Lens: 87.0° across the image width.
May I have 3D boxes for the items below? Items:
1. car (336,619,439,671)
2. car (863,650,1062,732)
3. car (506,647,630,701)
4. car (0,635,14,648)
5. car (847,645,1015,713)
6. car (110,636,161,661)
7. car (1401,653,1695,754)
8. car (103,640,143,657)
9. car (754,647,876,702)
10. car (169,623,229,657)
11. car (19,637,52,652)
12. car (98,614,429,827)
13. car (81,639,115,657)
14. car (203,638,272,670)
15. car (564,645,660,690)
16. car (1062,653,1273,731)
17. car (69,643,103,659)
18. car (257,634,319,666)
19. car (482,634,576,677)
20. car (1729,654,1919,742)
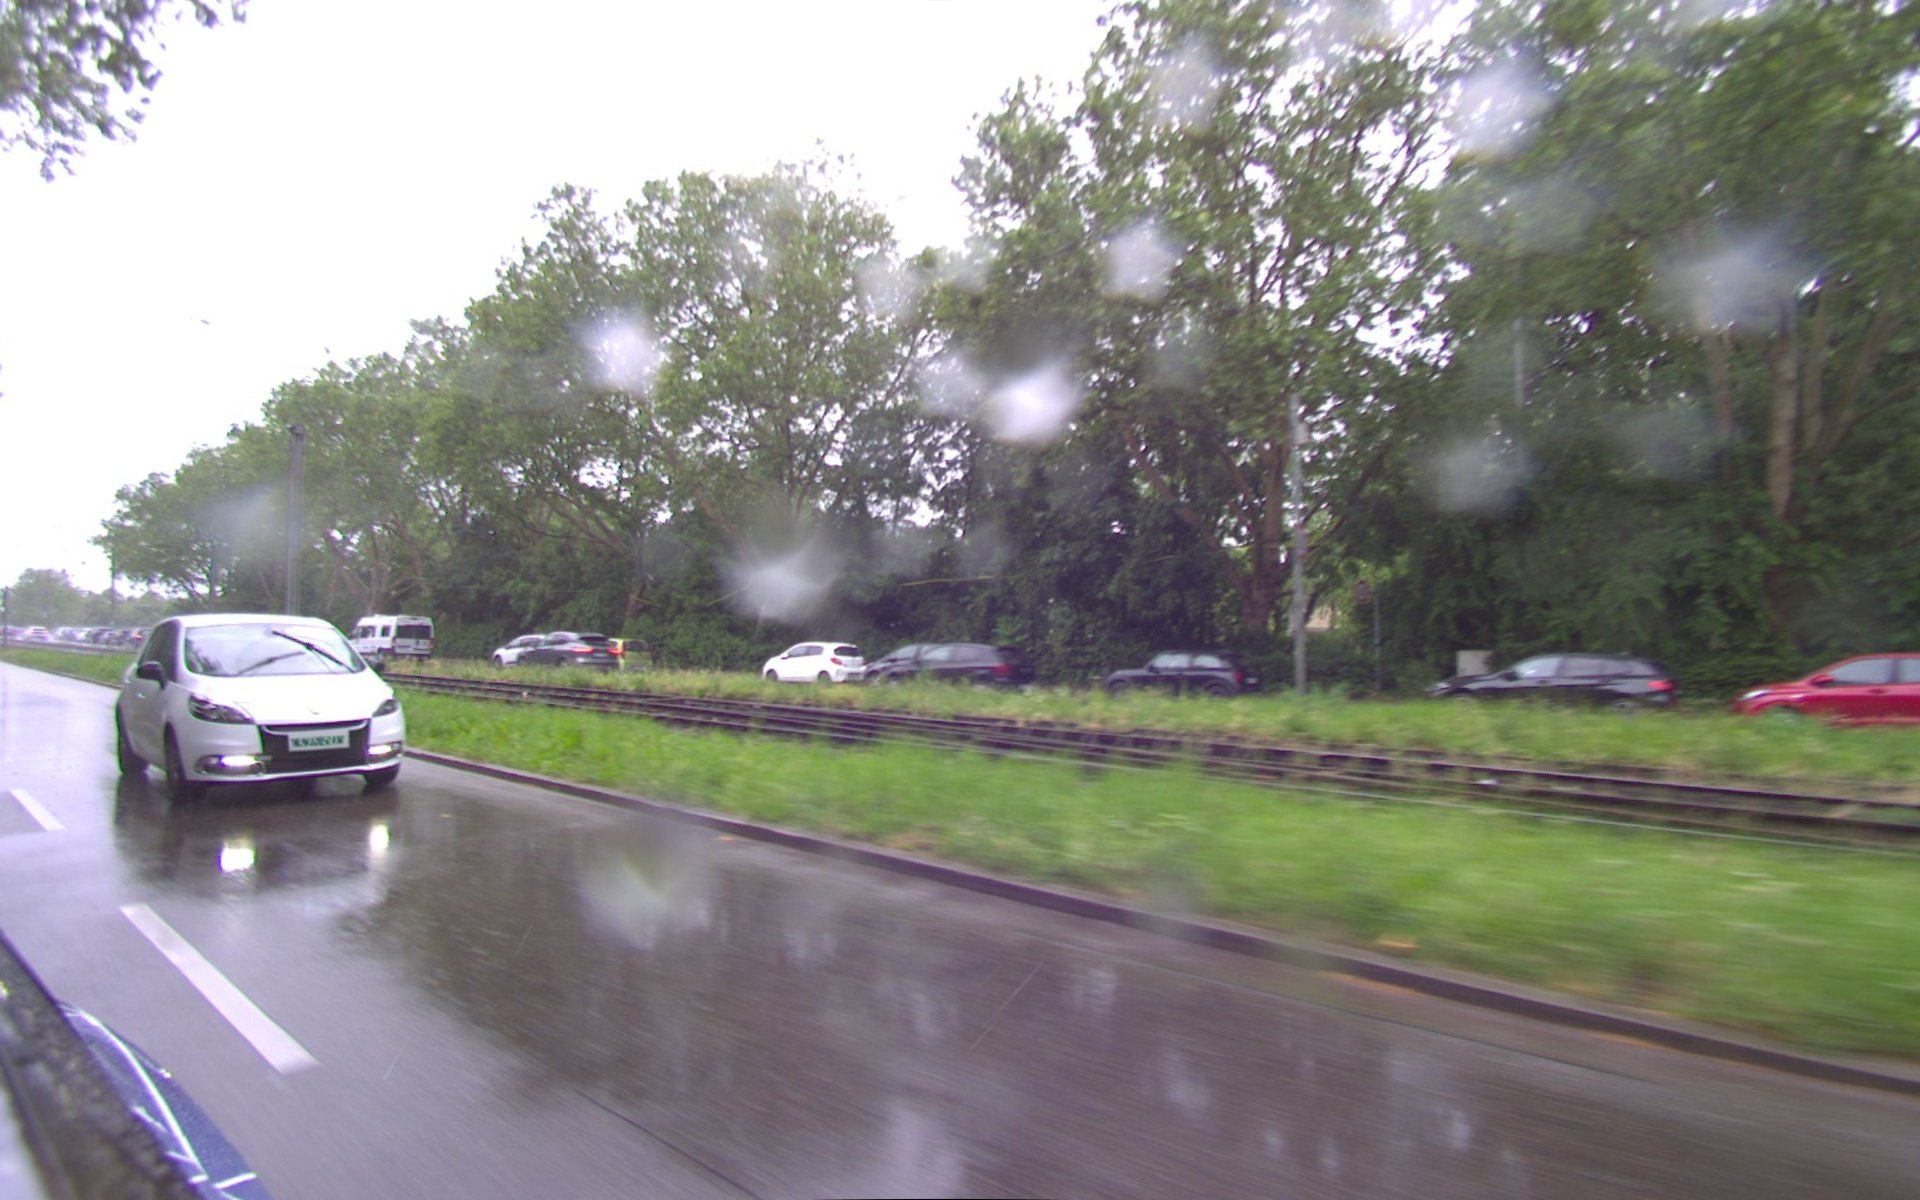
[{"bbox_3d":[-29.963,2.359,52.852,6.560,2.560,2.366,-2,-5,39],"label":"car"},{"bbox_3d":[0.014,2.033,23.334,4.272,1.670,2.012,-2,-5,39],"label":"car"},{"bbox_3d":[-13.342,2.489,34.379,4.391,1.670,1.993,-2,-5,39],"label":"car"},{"bbox_3d":[-118.239,5.075,124.648,4.564,1.564,2.012,-1,-3,41],"label":"car"},{"bbox_3d":[-0.887,2.235,29.207,4.689,1.764,2.011,-2,-5,39],"label":"car"},{"bbox_3d":[-60.125,3.535,73.807,4.255,1.764,2.011,-2,-5,39],"label":"car"},{"bbox_3d":[11.157,1.886,19.395,4.605,1.670,2.011,-2,-5,39],"label":"car"},{"bbox_3d":[-78.303,4.540,94.703,4.380,1.564,2.013,-2,-5,39],"label":"car"},{"bbox_3d":[-4.689,2.363,32.508,3.809,1.661,1.743,-2,-5,39],"label":"car"},{"bbox_3d":[-58.101,3.041,77.207,6.135,2.465,2.305,-2,-5,41],"label":"car"},{"bbox_3d":[-101.089,4.829,110.613,4.764,1.579,1.958,-2,-5,40],"label":"car"},{"bbox_3d":[-6.969,1.001,9.943,4.263,1.636,1.844,-2,-3,44],"label":"car"},{"bbox_3d":[-86.883,4.822,101.952,4.366,1.663,1.866,-2,-5,41],"label":"car"},{"bbox_3d":[-41.802,3.115,58.531,4.689,1.764,2.011,-2,-5,39],"label":"car"},{"bbox_3d":[-13.576,2.621,39.368,3.809,1.661,1.743,-2,-5,39],"label":"car"},{"bbox_3d":[4.957,2.162,24.464,4.605,1.670,2.011,-2,-5,39],"label":"car"},{"bbox_3d":[-91.693,5.335,106.166,4.575,1.522,1.866,-2,-5,40],"label":"car"},{"bbox_3d":[-41.752,3.086,62.845,4.638,1.876,1.936,-2,-5,41],"label":"car"},{"bbox_3d":[-18.356,2.360,43.041,4.527,1.741,1.733,-2,-5,39],"label":"car"},{"bbox_3d":[14.914,1.566,16.306,3.980,1.327,1.719,-2,-5,38],"label":"car"}]
